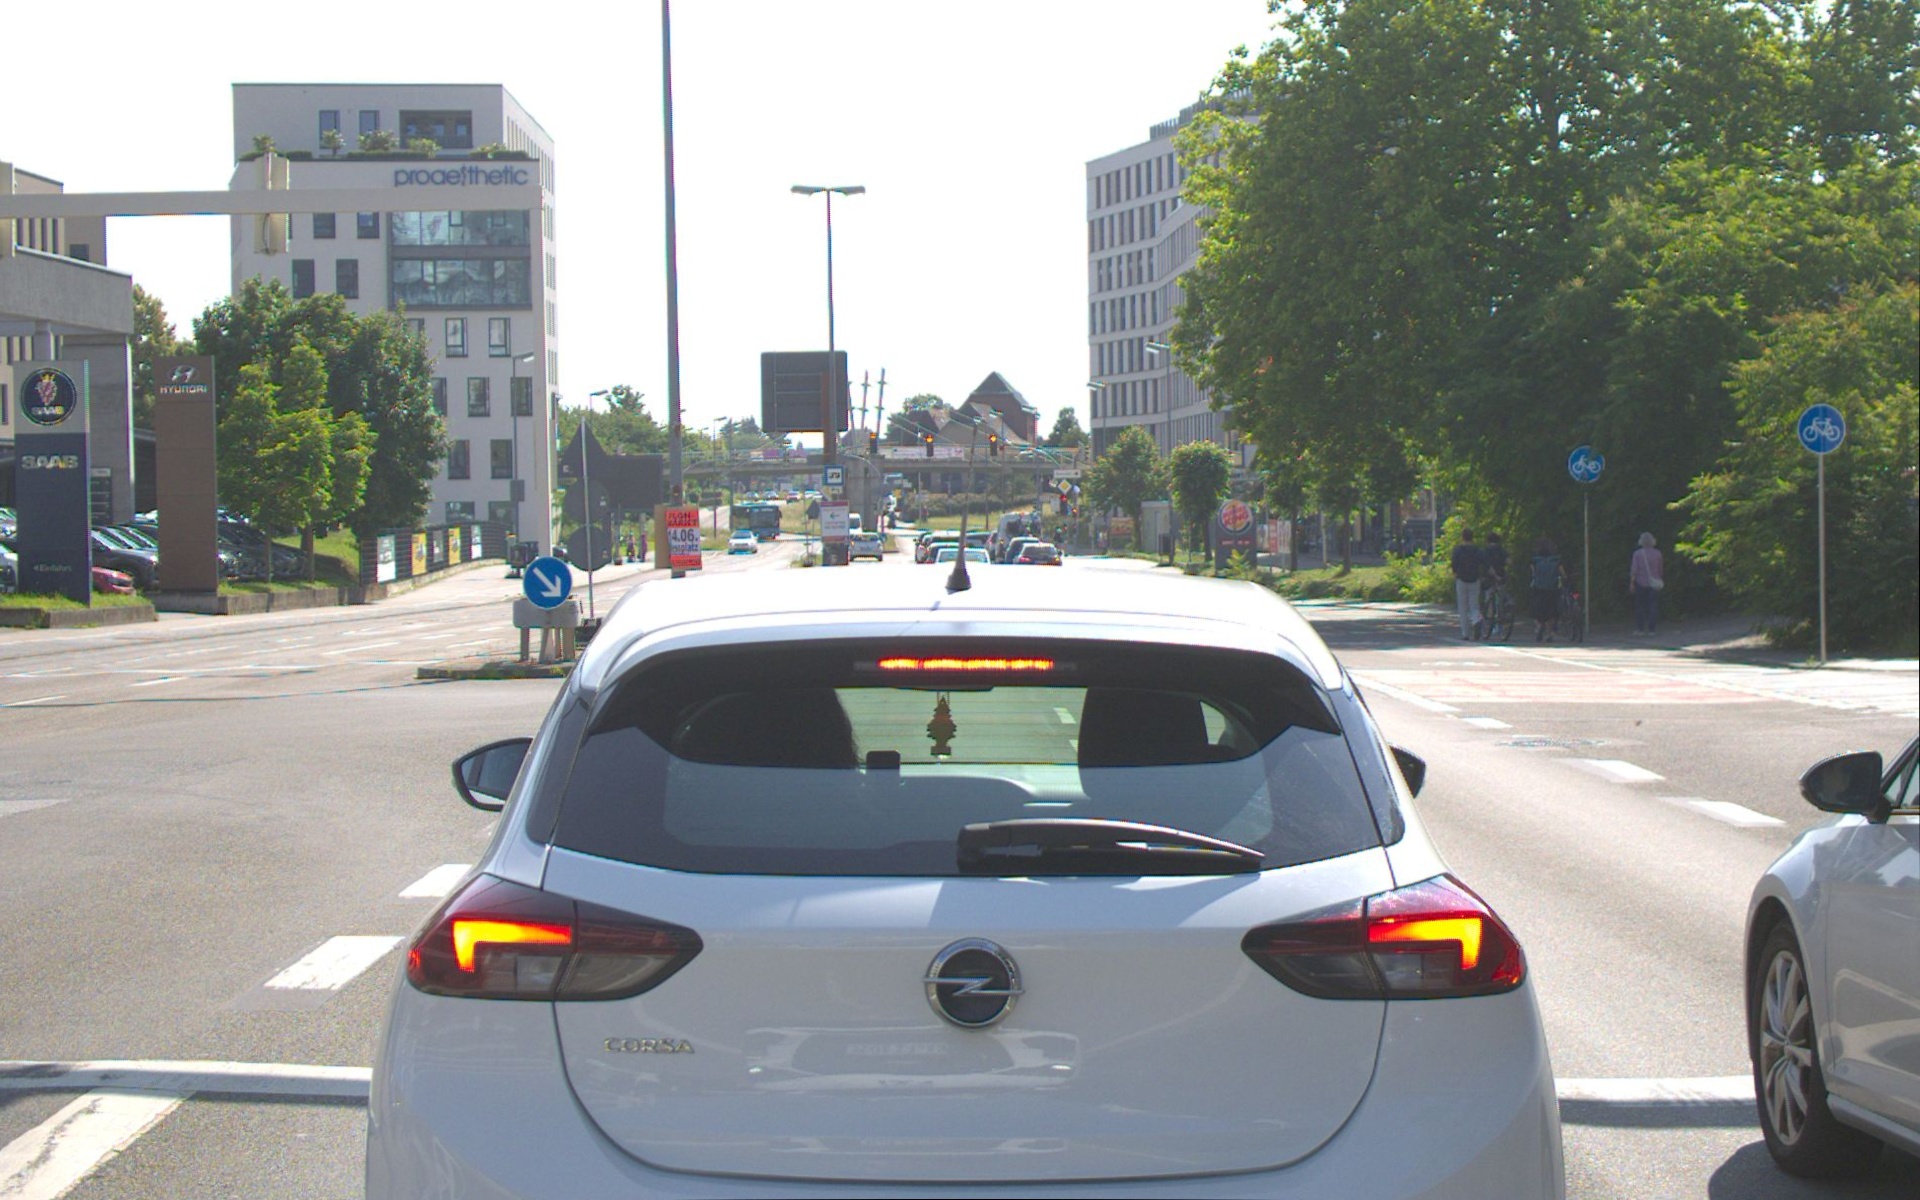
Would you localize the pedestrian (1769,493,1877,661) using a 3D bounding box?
[{"bbox_3d":[10.472,-0.283,41.735,1.027,2.007,1.039,-1,1,-1],"label":"pedestrian"}]

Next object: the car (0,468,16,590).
[{"bbox_3d":[-22.555,-1.478,73.032,4.357,2.592,2.000,-1,1,5],"label":"car"}]

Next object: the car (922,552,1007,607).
[{"bbox_3d":[0.147,-0.523,87.697,1.994,1.327,4.000,1,0,2],"label":"car"}]

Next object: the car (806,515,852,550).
[{"bbox_3d":[-5.380,-2.765,141.634,1.806,1.381,4.000,1,0,-1],"label":"car"}]

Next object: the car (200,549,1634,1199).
[{"bbox_3d":[-0.075,0.666,6.294,1.779,1.489,4.000,-1,1,-1],"label":"car"}]

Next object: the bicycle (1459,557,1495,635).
[{"bbox_3d":[8.227,-0.070,54.767,0.372,1.212,1.154,1,1,-1],"label":"bicycle"}]

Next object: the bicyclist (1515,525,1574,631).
[{"bbox_3d":[9.102,-0.351,53.537,0.688,1.637,0.777,-1,1,-9],"label":"bicyclist"}]

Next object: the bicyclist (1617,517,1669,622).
[{"bbox_3d":[10.703,-0.474,53.910,0.652,1.631,0.659,1,0,0],"label":"bicyclist"}]

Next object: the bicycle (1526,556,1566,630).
[{"bbox_3d":[9.115,-0.109,53.490,0.373,1.143,1.034,1,0,-3],"label":"bicycle"}]

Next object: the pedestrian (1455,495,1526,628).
[{"bbox_3d":[8.999,-0.656,58.351,1.027,2.231,1.039,-1,1,-1],"label":"pedestrian"}]

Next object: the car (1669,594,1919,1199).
[{"bbox_3d":[2.835,0.712,6.808,1.807,1.424,4.001,-1,1,-3],"label":"car"}]

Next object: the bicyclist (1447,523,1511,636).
[{"bbox_3d":[8.263,-0.331,54.754,0.879,1.766,0.864,-1,1,0],"label":"bicyclist"}]

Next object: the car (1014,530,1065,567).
[{"bbox_3d":[3.102,-2.021,134.927,1.806,1.381,4.000,1,0,-1],"label":"car"}]

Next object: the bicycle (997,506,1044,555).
[{"bbox_3d":[2.726,-3.148,155.215,1.993,2.150,4.000,-1,1,-1],"label":"bicycle"}]
